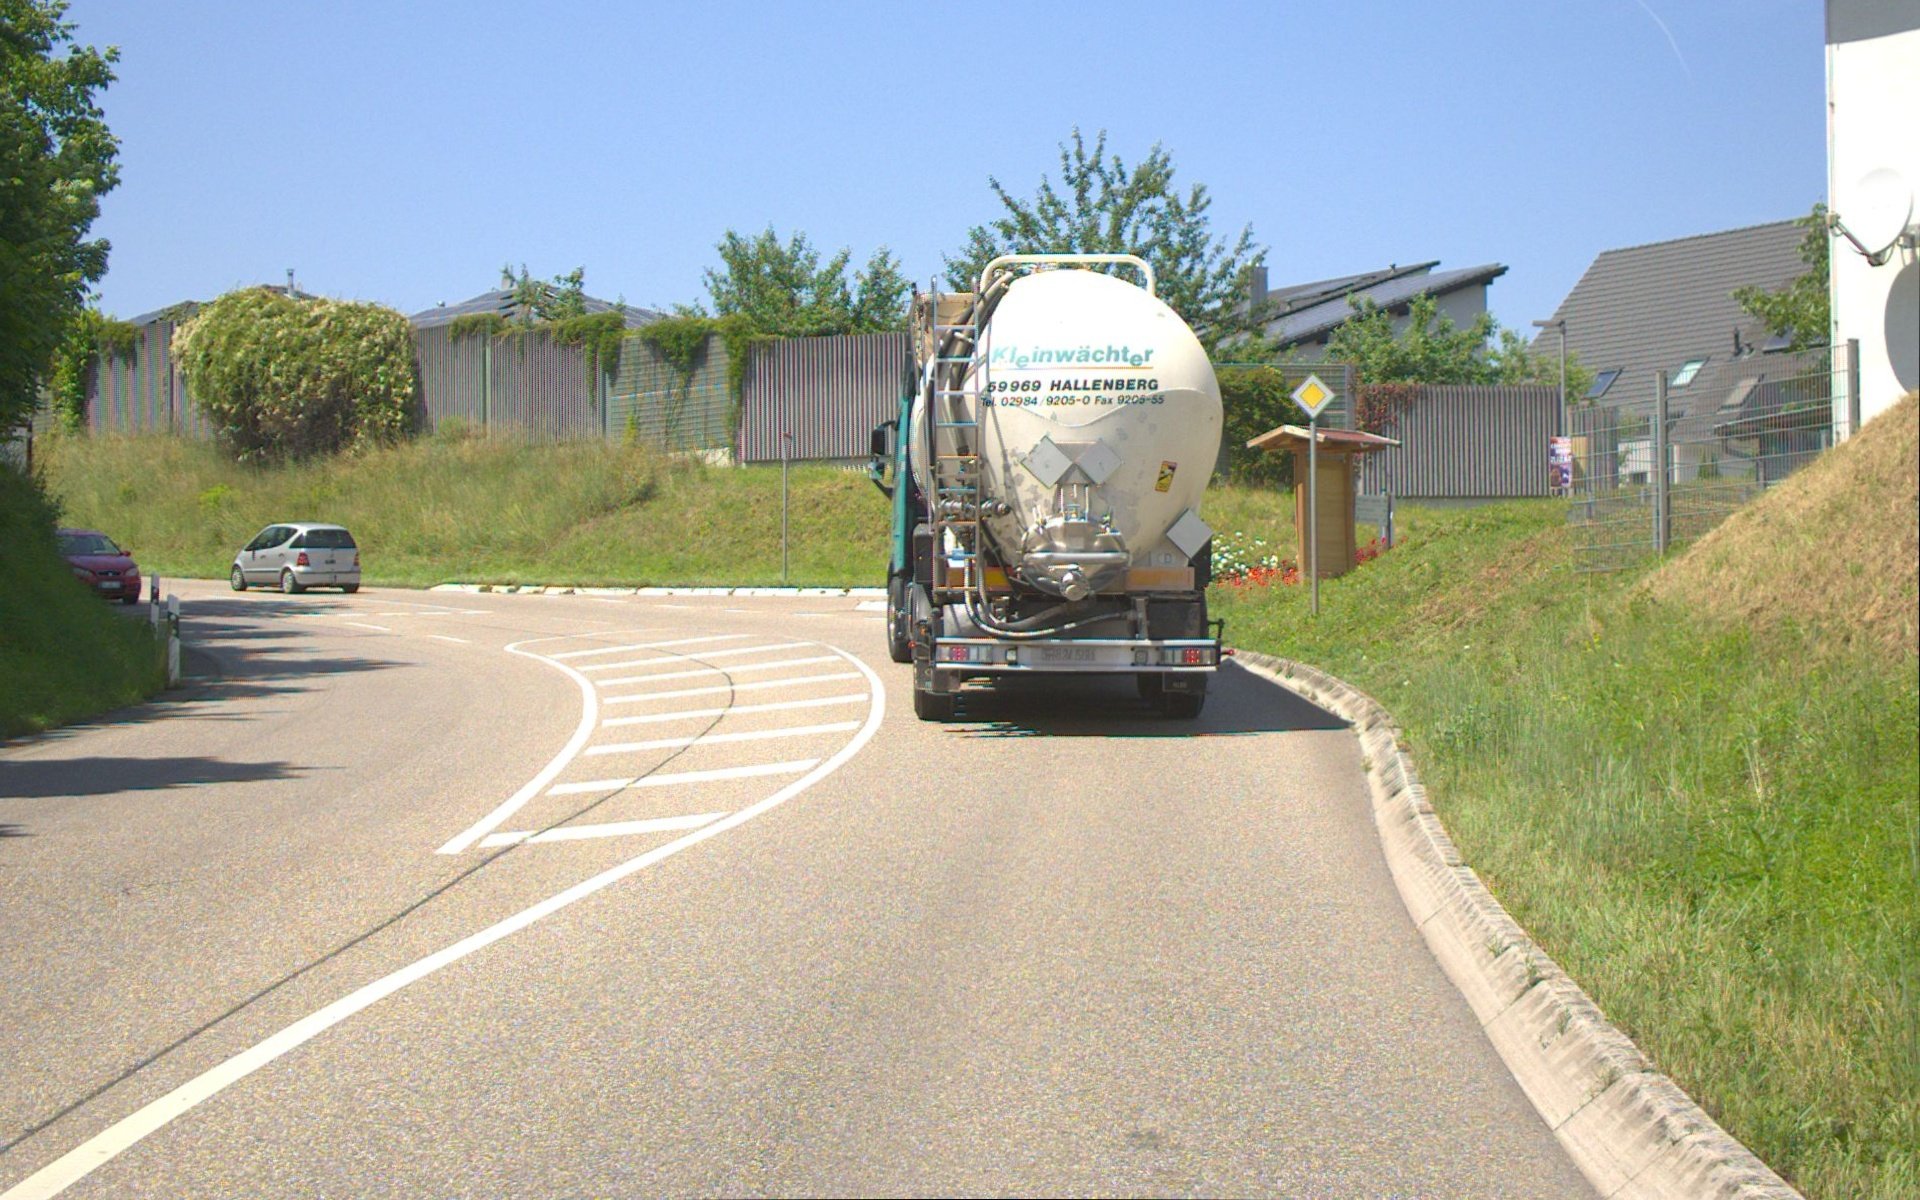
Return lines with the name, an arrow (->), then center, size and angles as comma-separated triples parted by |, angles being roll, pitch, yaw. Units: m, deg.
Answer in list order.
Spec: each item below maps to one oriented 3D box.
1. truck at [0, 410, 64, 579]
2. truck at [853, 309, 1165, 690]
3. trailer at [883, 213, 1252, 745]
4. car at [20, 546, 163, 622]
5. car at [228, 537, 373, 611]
truck -> -29.085, -3.032, 92.720 | 11.790, 4.295, 3.193 | 4, 0, 41
truck -> 0.404, -1.116, 39.322 | 2.726, 3.916, 7.265 | 1, 1, -6
trailer -> 0.713, -1.111, 32.986 | 2.661, 4.174, 11.906 | 0, 2, -2
car -> -17.336, -0.346, 68.533 | 1.750, 1.443, 4.000 | -2, 2, -29
car -> -14.592, -0.585, 75.962 | 1.648, 1.504, 3.638 | 3, -1, -36
